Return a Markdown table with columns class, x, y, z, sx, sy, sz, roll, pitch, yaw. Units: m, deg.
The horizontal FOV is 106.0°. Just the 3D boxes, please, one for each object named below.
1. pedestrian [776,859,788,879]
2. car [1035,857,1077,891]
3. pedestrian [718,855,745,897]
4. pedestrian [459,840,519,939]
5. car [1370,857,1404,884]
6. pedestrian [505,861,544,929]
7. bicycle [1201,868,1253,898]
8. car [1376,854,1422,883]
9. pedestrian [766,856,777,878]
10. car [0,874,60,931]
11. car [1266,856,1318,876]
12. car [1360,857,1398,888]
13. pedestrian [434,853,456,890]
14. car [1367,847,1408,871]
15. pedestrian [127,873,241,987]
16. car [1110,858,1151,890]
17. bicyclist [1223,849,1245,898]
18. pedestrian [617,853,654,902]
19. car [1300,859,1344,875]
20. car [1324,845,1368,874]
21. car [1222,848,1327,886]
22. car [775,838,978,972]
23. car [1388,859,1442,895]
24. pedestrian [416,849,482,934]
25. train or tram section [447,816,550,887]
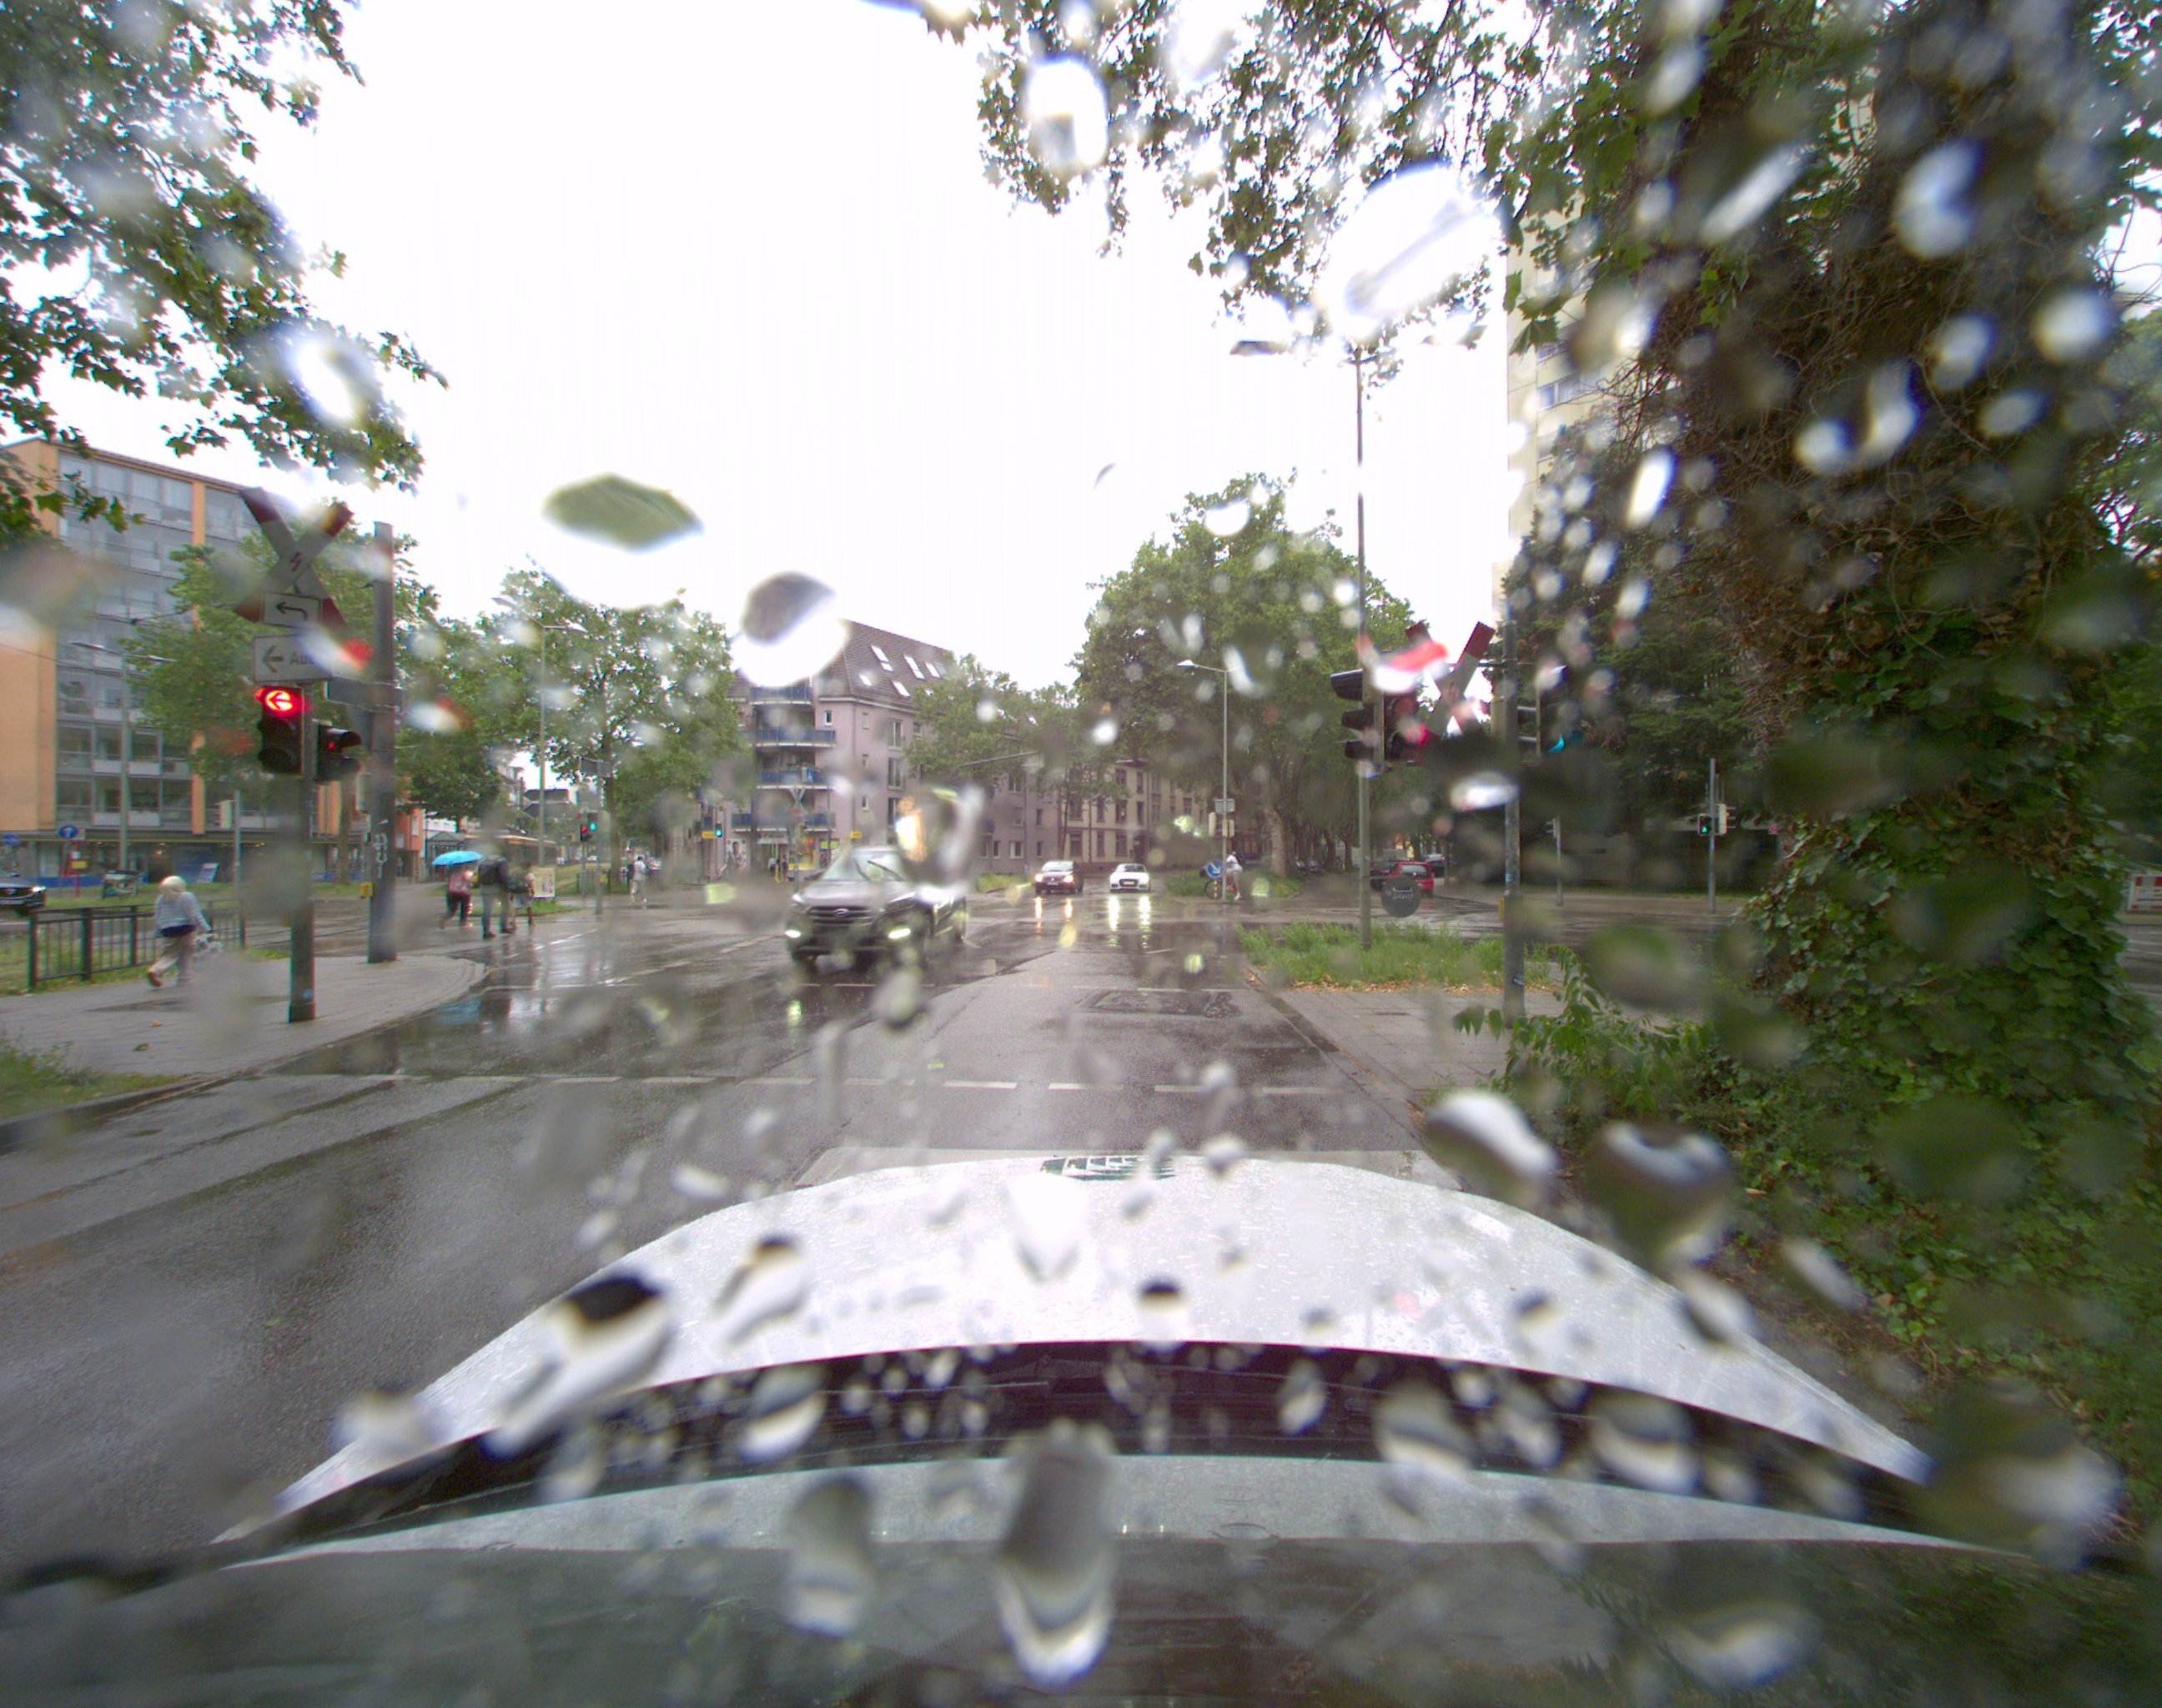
| class | x | y | z | sx | sy | sz | roll | pitch | yaw |
| --- | --- | --- | --- | --- | --- | --- | --- | --- | --- |
| pedestrian | -19.334 | 0.960 | 52.725 | 0.440 | 1.329 | 0.565 | -1 | -1 | 32 |
| car | -1.068 | 0.872 | 36.488 | 1.708 | 1.459 | 3.748 | 0 | -1 | 1 |
| pedestrian | -12.978 | 0.809 | 30.248 | 0.749 | 1.533 | 0.789 | 0 | -1 | -9 |
| pedestrian | -11.442 | 0.659 | 15.764 | 0.790 | 1.855 | 0.677 | 0 | 0 | -21 |
| car | 21.165 | 1.092 | 56.465 | 1.908 | 1.806 | 4.017 | -1 | -1 | 16 |
| pedestrian | -11.880 | 0.849 | 17.399 | 0.653 | 1.396 | 0.774 | 0 | 0 | -33 |
| bicycle | 5.447 | 1.071 | 30.396 | 1.862 | 1.081 | 0.658 | -1 | -1 | 9 |
| car | 15.890 | 0.699 | 40.867 | 1.770 | 1.348 | 3.945 | 0 | 1 | 16 |
| pedestrian | -20.295 | 0.832 | 53.384 | 0.440 | 1.457 | 0.565 | -1 | -1 | 24 |
| car | -32.219 | 1.391 | 23.607 | 3.994 | 1.530 | 1.615 | 0 | 1 | 12 |
| car | 16.919 | 0.959 | 65.198 | 3.958 | 1.486 | 2.008 | -1 | -1 | 14 |
| car | 17.321 | 1.066 | 47.423 | 1.769 | 1.727 | 4.017 | -1 | -1 | 16 |
| pedestrian | -38.255 | 1.043 | 49.012 | 0.889 | 2.151 | 0.902 | 0 | -1 | -30 |
| car | 38.981 | 0.647 | 103.566 | 2.006 | 2.948 | 4.726 | 0 | -1 | -29 |
| pedestrian | -11.182 | 0.917 | 10.182 | 0.657 | 1.349 | 0.706 | 0 | 0 | -12 |
| car | 2.406 | 0.938 | 39.152 | 1.876 | 1.436 | 4.004 | 0 | 0 | 4 |
| bicyclist | 5.687 | 0.717 | 30.363 | 0.790 | 1.786 | 0.699 | -1 | -1 | 9 |
| pedestrian | -14.824 | 0.767 | 27.127 | 0.671 | 1.600 | 0.968 | 0 | -1 | 2 |
| car | 23.130 | 1.258 | 78.258 | 3.958 | 1.547 | 2.008 | -1 | -1 | 14 |
| car | 28.315 | 0.592 | 87.214 | 2.040 | 2.948 | 4.742 | 0 | -1 | -18 |
| car | 7.749 | 0.520 | 32.659 | 3.958 | 1.486 | 2.008 | -1 | -1 | 14 |
| car | -2.874 | 0.639 | 12.582 | 1.796 | 1.682 | 4.606 | 0 | 0 | 2 |
| car | 14.822 | 0.984 | 36.331 | 1.778 | 1.498 | 4.017 | 0 | 0 | 16 |
| pedestrian | -13.636 | 0.782 | 17.614 | 0.962 | 1.766 | 0.944 | 0 | -1 | -28 |
| train or tram section | -36.140 | -0.041 | 51.287 | 2.897 | 3.768 | 17.089 | 0 | -1 | -28 |
